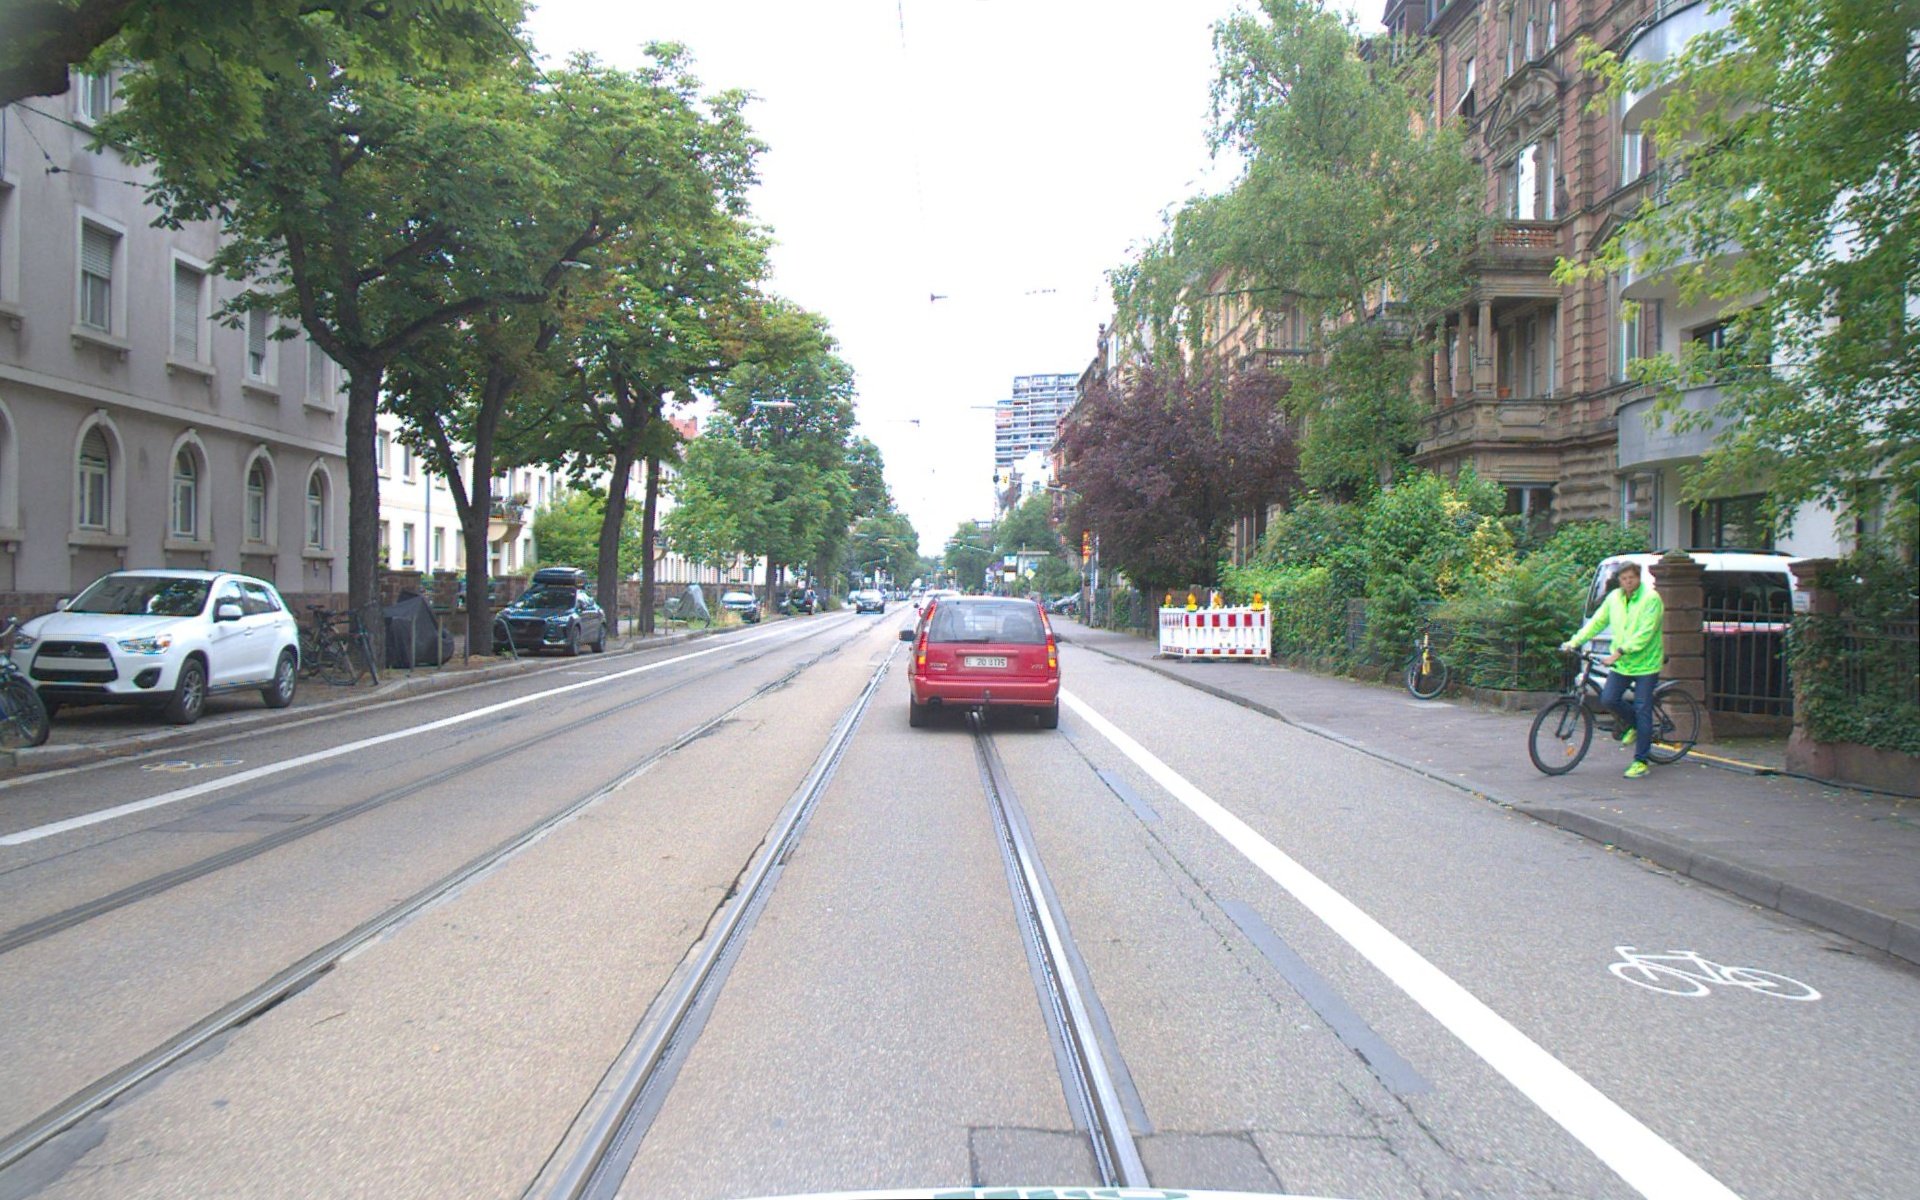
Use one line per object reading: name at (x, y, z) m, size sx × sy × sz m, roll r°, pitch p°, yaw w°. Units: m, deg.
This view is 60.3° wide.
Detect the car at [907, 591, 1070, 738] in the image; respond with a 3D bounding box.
car at (0.258, 0.660, 18.985) m, size 1.655 × 1.466 × 3.742 m, roll 2°, pitch 0°, yaw -1°

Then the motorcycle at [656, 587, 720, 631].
motorcycle at (-9.821, 0.336, 59.615) m, size 2.225 × 1.538 × 0.924 m, roll 0°, pitch -2°, yaw 34°

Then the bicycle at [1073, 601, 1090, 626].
bicycle at (5.187, 0.560, 70.842) m, size 0.512 × 1.048 × 2.176 m, roll -1°, pitch 0°, yaw -1°

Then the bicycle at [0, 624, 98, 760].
bicycle at (-8.802, 0.788, 14.716) m, size 1.883 × 1.140 × 0.624 m, roll 2°, pitch 0°, yaw -2°

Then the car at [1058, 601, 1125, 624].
car at (8.023, 0.753, 100.944) m, size 3.902 × 1.385 × 1.894 m, roll 0°, pitch 0°, yaw 9°

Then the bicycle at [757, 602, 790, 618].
bicycle at (-10.146, 0.555, 89.823) m, size 1.713 × 0.858 × 0.684 m, roll 1°, pitch 0°, yaw 0°

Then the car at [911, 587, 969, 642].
car at (-0.593, 0.441, 52.025) m, size 1.683 × 1.653 × 3.941 m, roll 1°, pitch 0°, yaw 1°

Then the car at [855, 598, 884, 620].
car at (-5.812, 0.571, 106.637) m, size 1.720 × 1.404 × 4.025 m, roll 0°, pitch 0°, yaw -2°

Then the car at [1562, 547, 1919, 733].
car at (8.813, 0.403, 17.955) m, size 3.906 × 1.891 × 1.808 m, roll 0°, pitch 0°, yaw -1°

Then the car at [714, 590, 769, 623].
car at (-9.840, 0.289, 74.783) m, size 1.851 × 1.422 × 4.416 m, roll 1°, pitch 0°, yaw 0°

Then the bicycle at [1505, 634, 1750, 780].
bicycle at (5.656, 0.894, 14.060) m, size 1.804 × 1.094 × 0.606 m, roll -3°, pitch 0°, yaw -3°

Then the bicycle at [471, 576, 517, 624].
bicycle at (-13.762, -0.005, 48.895) m, size 0.776 × 1.406 × 2.141 m, roll 0°, pitch 0°, yaw -1°

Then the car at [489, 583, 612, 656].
car at (-9.293, 0.410, 37.869) m, size 1.741 × 1.537 × 4.237 m, roll 1°, pitch 0°, yaw 0°

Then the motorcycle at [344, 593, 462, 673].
motorcycle at (-9.646, 0.548, 28.745) m, size 0.845 × 1.310 × 2.324 m, roll 1°, pitch 0°, yaw 12°

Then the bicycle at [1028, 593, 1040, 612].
bicycle at (5.002, 0.154, 112.381) m, size 0.694 × 1.323 × 1.904 m, roll 0°, pitch 0°, yaw -1°

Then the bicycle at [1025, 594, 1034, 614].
bicycle at (4.888, 0.285, 115.888) m, size 0.540 × 1.424 × 1.733 m, roll 0°, pitch 0°, yaw -1°

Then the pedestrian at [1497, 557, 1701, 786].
pedestrian at (5.289, 0.569, 13.772) m, size 1.204 × 1.763 × 1.018 m, roll -3°, pitch 0°, yaw -2°

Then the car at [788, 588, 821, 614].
car at (-9.880, 0.036, 105.259) m, size 1.813 × 1.590 × 3.942 m, roll 1°, pitch 0°, yaw -1°

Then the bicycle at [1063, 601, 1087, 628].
bicycle at (6.748, 0.846, 96.978) m, size 0.898 × 1.533 × 2.382 m, roll 1°, pitch 0°, yaw 16°

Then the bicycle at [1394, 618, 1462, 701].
bicycle at (6.329, 0.792, 22.407) m, size 0.469 × 1.063 × 1.531 m, roll 0°, pitch 0°, yaw -1°

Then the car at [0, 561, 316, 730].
car at (-9.050, 0.453, 18.862) m, size 1.859 × 1.684 × 4.223 m, roll 1°, pitch 0°, yaw -2°

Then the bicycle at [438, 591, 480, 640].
bicycle at (-14.824, 0.442, 48.997) m, size 0.615 × 1.406 × 2.140 m, roll 0°, pitch 0°, yaw -1°

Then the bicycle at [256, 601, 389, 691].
bicycle at (-9.304, 0.663, 24.152) m, size 1.706 × 1.213 × 0.653 m, roll 2°, pitch 0°, yaw 13°
